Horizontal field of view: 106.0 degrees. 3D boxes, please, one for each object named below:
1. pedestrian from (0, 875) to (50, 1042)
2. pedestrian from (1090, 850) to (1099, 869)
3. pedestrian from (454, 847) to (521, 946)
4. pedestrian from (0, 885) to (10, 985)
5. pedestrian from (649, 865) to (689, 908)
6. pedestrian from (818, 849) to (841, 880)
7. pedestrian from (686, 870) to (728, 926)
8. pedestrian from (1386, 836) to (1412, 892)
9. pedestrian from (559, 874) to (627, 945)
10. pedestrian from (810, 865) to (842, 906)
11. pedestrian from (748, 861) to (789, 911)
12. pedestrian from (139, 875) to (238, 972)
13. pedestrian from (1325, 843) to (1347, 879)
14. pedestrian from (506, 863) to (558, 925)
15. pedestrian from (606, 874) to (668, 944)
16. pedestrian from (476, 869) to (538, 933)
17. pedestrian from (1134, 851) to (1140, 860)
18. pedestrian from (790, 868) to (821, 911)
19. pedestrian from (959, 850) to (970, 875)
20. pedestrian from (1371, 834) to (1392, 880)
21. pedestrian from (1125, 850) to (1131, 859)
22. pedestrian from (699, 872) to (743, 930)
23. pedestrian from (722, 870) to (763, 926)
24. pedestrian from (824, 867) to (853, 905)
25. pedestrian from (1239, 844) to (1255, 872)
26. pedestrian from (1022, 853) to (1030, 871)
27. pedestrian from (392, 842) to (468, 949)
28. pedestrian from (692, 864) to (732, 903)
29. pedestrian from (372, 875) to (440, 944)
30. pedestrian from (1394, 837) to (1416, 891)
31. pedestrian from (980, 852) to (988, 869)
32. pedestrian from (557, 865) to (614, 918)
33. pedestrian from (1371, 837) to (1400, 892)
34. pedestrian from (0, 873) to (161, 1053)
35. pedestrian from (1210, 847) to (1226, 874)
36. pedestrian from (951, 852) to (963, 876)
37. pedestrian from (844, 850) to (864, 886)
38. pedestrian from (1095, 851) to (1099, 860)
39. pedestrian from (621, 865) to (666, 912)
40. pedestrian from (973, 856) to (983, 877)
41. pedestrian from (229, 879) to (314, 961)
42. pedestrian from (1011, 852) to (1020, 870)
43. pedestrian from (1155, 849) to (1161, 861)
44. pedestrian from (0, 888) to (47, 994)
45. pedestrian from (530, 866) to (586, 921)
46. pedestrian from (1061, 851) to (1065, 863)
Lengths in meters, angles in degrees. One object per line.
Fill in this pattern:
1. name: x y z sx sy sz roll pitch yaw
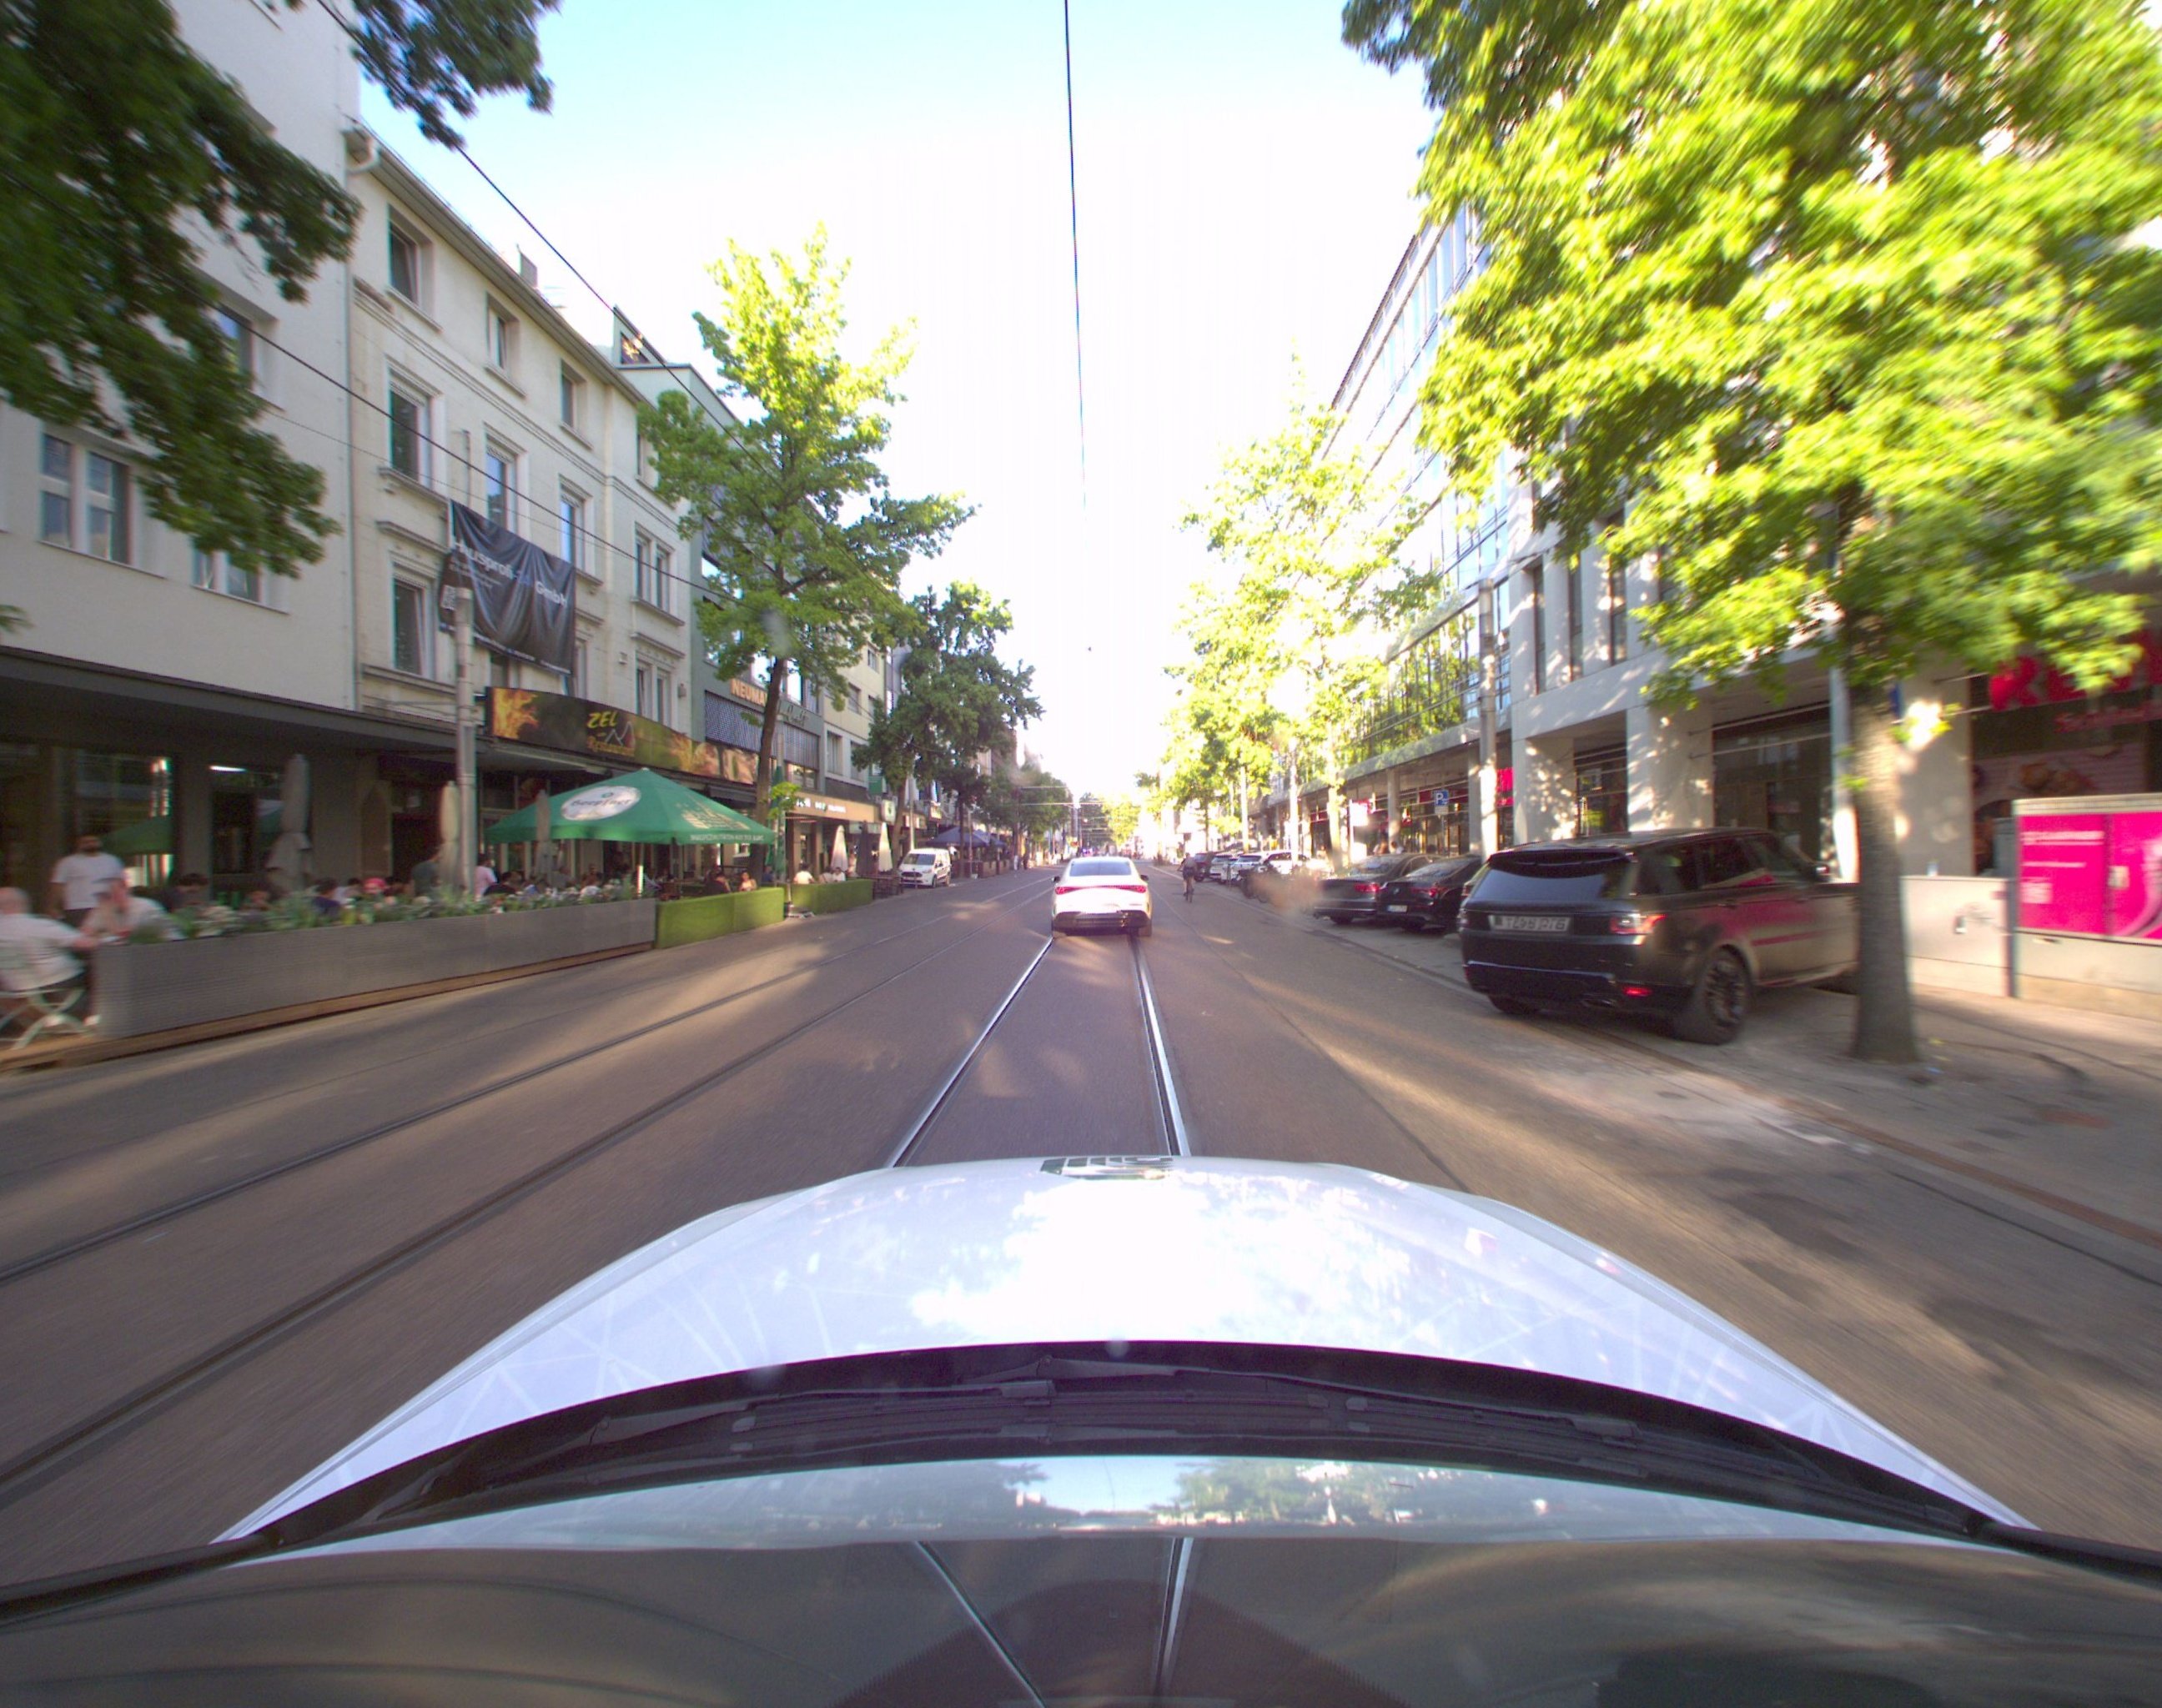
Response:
1. pedestrian: -9.401 0.876 6.740 0.686 1.386 0.807 1 0 3
2. pedestrian: 1.309 0.526 79.854 0.838 1.801 0.791 1 0 3
3. pedestrian: -10.289 0.714 14.140 0.616 1.670 0.697 1 0 1
4. pedestrian: -12.832 0.940 9.189 0.550 1.161 0.687 1 0 3
5. pedestrian: -11.852 0.923 23.446 0.697 1.168 0.788 2 0 1
6. pedestrian: -11.995 0.506 38.869 0.767 1.467 0.765 2 0 0
7. pedestrian: -8.738 1.016 19.044 0.616 1.245 0.697 2 0 1
8. pedestrian: 10.179 0.310 26.070 0.521 1.750 0.559 -3 0 4
9. pedestrian: -9.201 1.025 15.387 0.704 1.259 0.870 1 0 4
10. pedestrian: -7.983 0.976 25.506 0.654 1.244 0.873 2 0 1
11. pedestrian: -8.719 0.888 22.731 0.751 1.343 0.873 2 0 1
12. pedestrian: -12.494 0.950 11.414 0.599 1.298 0.687 1 0 3
13. pedestrian: 11.776 0.331 37.678 0.711 1.624 0.883 -2 0 3
14. pedestrian: -12.208 0.881 18.129 0.616 1.309 0.697 2 0 1
15. pedestrian: -8.345 1.016 15.336 0.704 1.259 0.773 1 0 4
16. pedestrian: -11.663 0.936 16.562 0.667 1.242 0.799 1 0 1
17. pedestrian: 11.027 0.295 160.328 0.957 1.785 0.804 -3 0 1
18. pedestrian: -8.639 1.112 25.549 0.654 1.293 0.798 2 0 1
19. pedestrian: -8.094 0.579 56.598 0.715 1.724 0.675 0 0 1
20. pedestrian: 11.591 0.118 31.407 0.555 1.750 0.525 -3 0 2
21. pedestrian: 9.361 0.081 161.637 0.957 1.785 0.804 -3 0 1
22. pedestrian: -8.018 1.034 18.176 0.616 1.245 0.697 2 0 1
23. pedestrian: -7.910 1.016 19.055 0.616 1.245 0.697 2 0 1
24. pedestrian: -7.842 1.022 26.349 0.654 1.193 0.798 2 0 1
25. pedestrian: 10.626 0.269 52.114 0.681 1.731 0.636 -4 0 44
26. pedestrian: -4.702 0.665 69.752 0.620 1.550 0.853 1 0 3
27. pedestrian: -10.983 0.676 13.757 0.675 1.757 0.697 1 0 3
28. pedestrian: -11.783 0.931 26.039 0.750 1.188 1.065 2 0 2
29. pedestrian: -12.036 0.979 14.537 0.599 1.174 0.687 1 0 3
30. pedestrian: 10.403 0.314 26.139 0.514 1.696 0.551 -1 0 7
31. pedestrian: -8.869 0.556 74.794 0.594 1.533 0.672 1 0 3
32. pedestrian: -12.188 0.900 20.064 0.774 1.237 0.945 2 0 1
33. pedestrian: 9.650 0.322 25.828 0.679 1.696 0.548 -1 0 -11
34. pedestrian: -8.498 0.864 6.798 0.686 1.386 0.807 1 0 3
35. pedestrian: 8.777 0.408 52.256 0.672 1.685 0.700 -3 0 36
36. pedestrian: -8.321 0.653 54.788 0.671 1.607 0.720 0 0 1
37. pedestrian: -10.152 0.615 36.424 0.645 1.574 0.700 2 0 2
38. pedestrian: 3.130 0.379 160.426 0.797 1.782 0.849 1 0 1
39. pedestrian: -11.877 0.915 22.112 0.733 1.214 0.788 2 0 1
40. pedestrian: -6.659 0.792 52.523 0.547 1.356 0.583 0 0 1
41. pedestrian: -12.098 0.974 12.184 0.550 1.161 0.687 1 0 3
42. pedestrian: -5.545 0.619 69.217 0.620 1.509 0.834 1 0 3
43. pedestrian: 12.242 0.155 129.592 0.746 1.785 0.767 -3 0 2
44. pedestrian: -12.325 0.982 9.131 0.550 1.161 0.687 1 0 3
45. pedestrian: -12.180 0.905 18.979 0.733 1.232 0.788 2 0 1
46. pedestrian: -2.860 0.462 126.291 0.570 1.929 0.540 -1 0 -2
